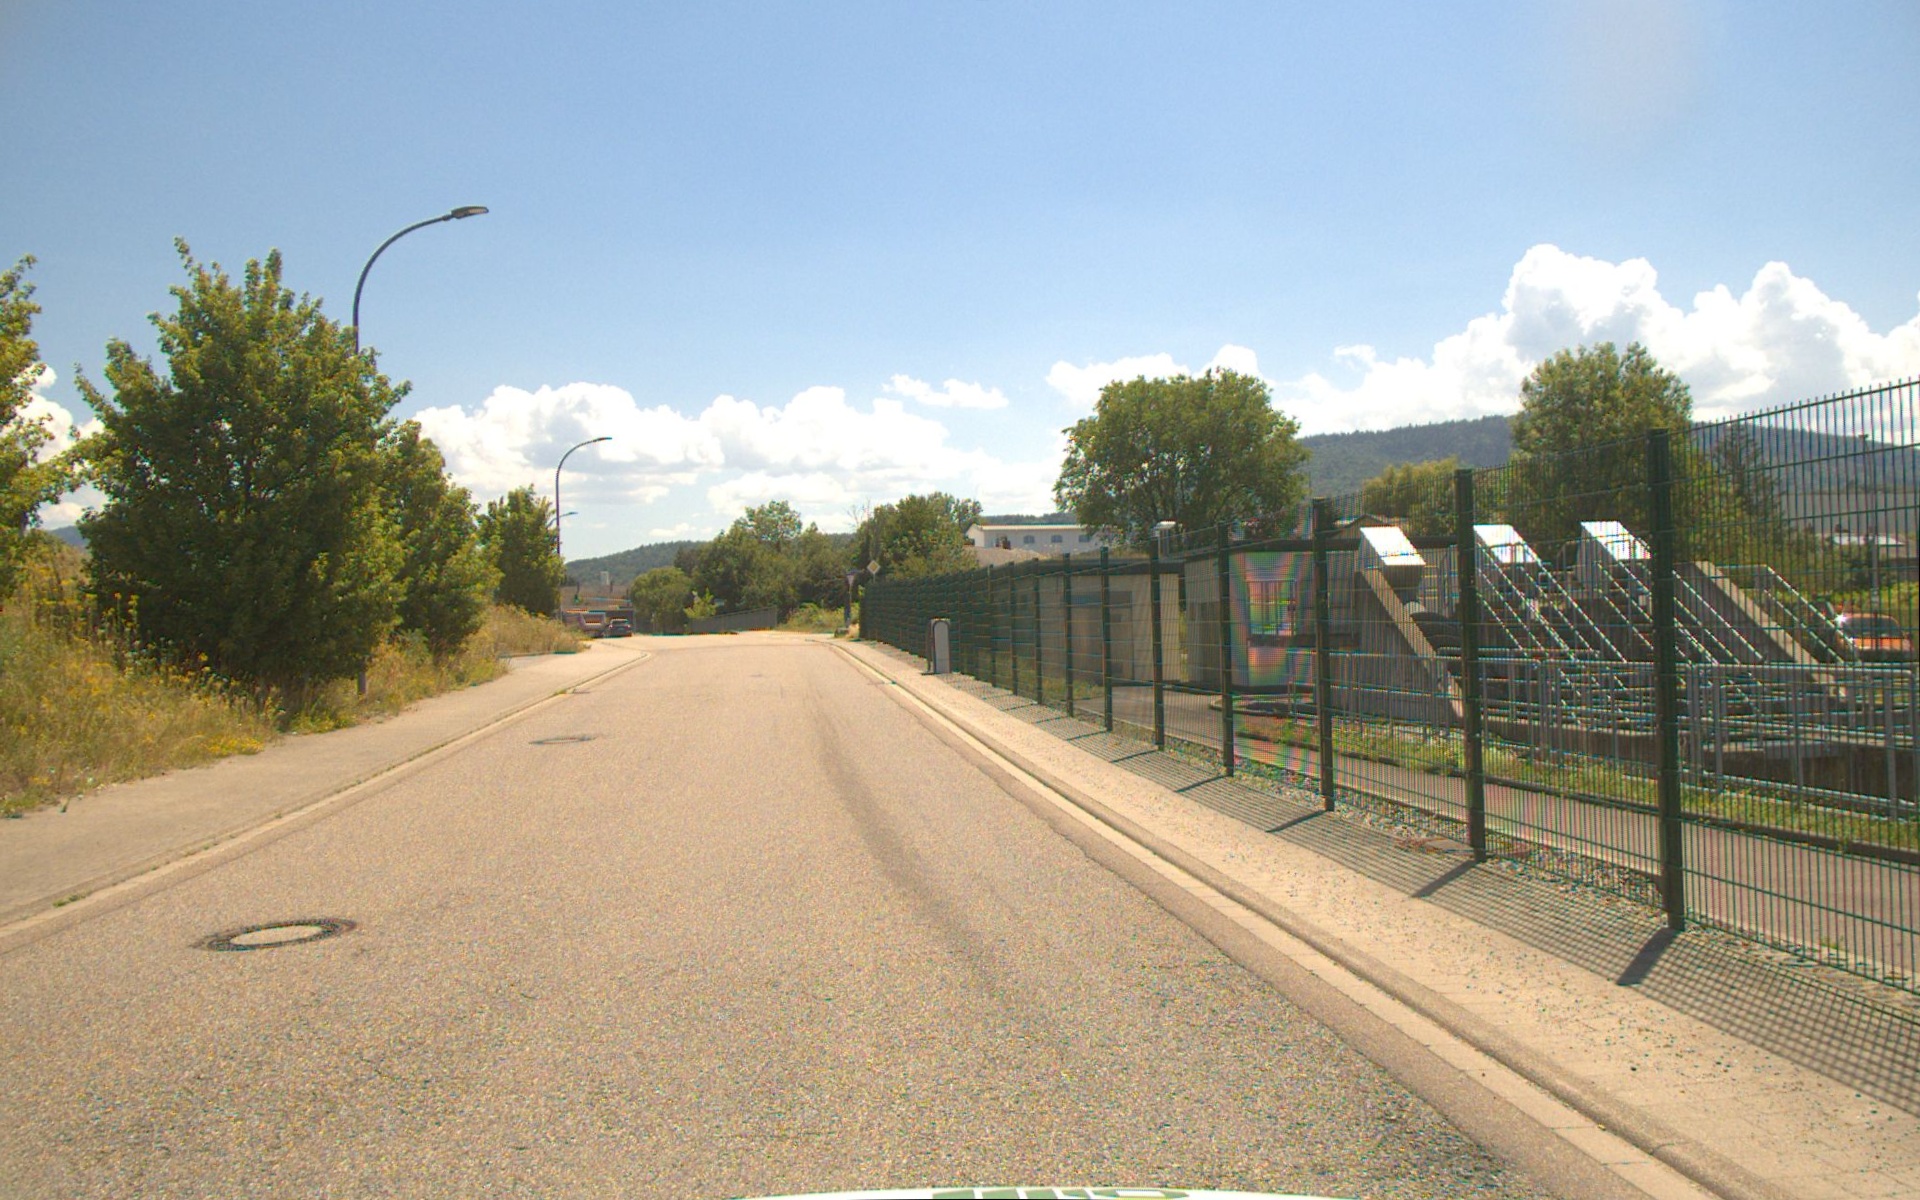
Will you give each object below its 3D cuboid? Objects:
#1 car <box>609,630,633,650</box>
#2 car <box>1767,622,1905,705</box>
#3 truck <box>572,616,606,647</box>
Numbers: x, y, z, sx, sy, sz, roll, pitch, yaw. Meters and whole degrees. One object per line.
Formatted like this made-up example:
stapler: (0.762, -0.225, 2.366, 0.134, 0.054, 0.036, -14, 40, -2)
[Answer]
car: (-26.401, 3.111, 128.735, 1.745, 1.473, 3.440, 0, 0, -13)
car: (23.657, 1.655, 44.877, 1.951, 2.056, 4.925, 0, 0, 11)
truck: (-35.152, 2.990, 156.559, 2.640, 2.821, 6.060, 0, 0, -17)
